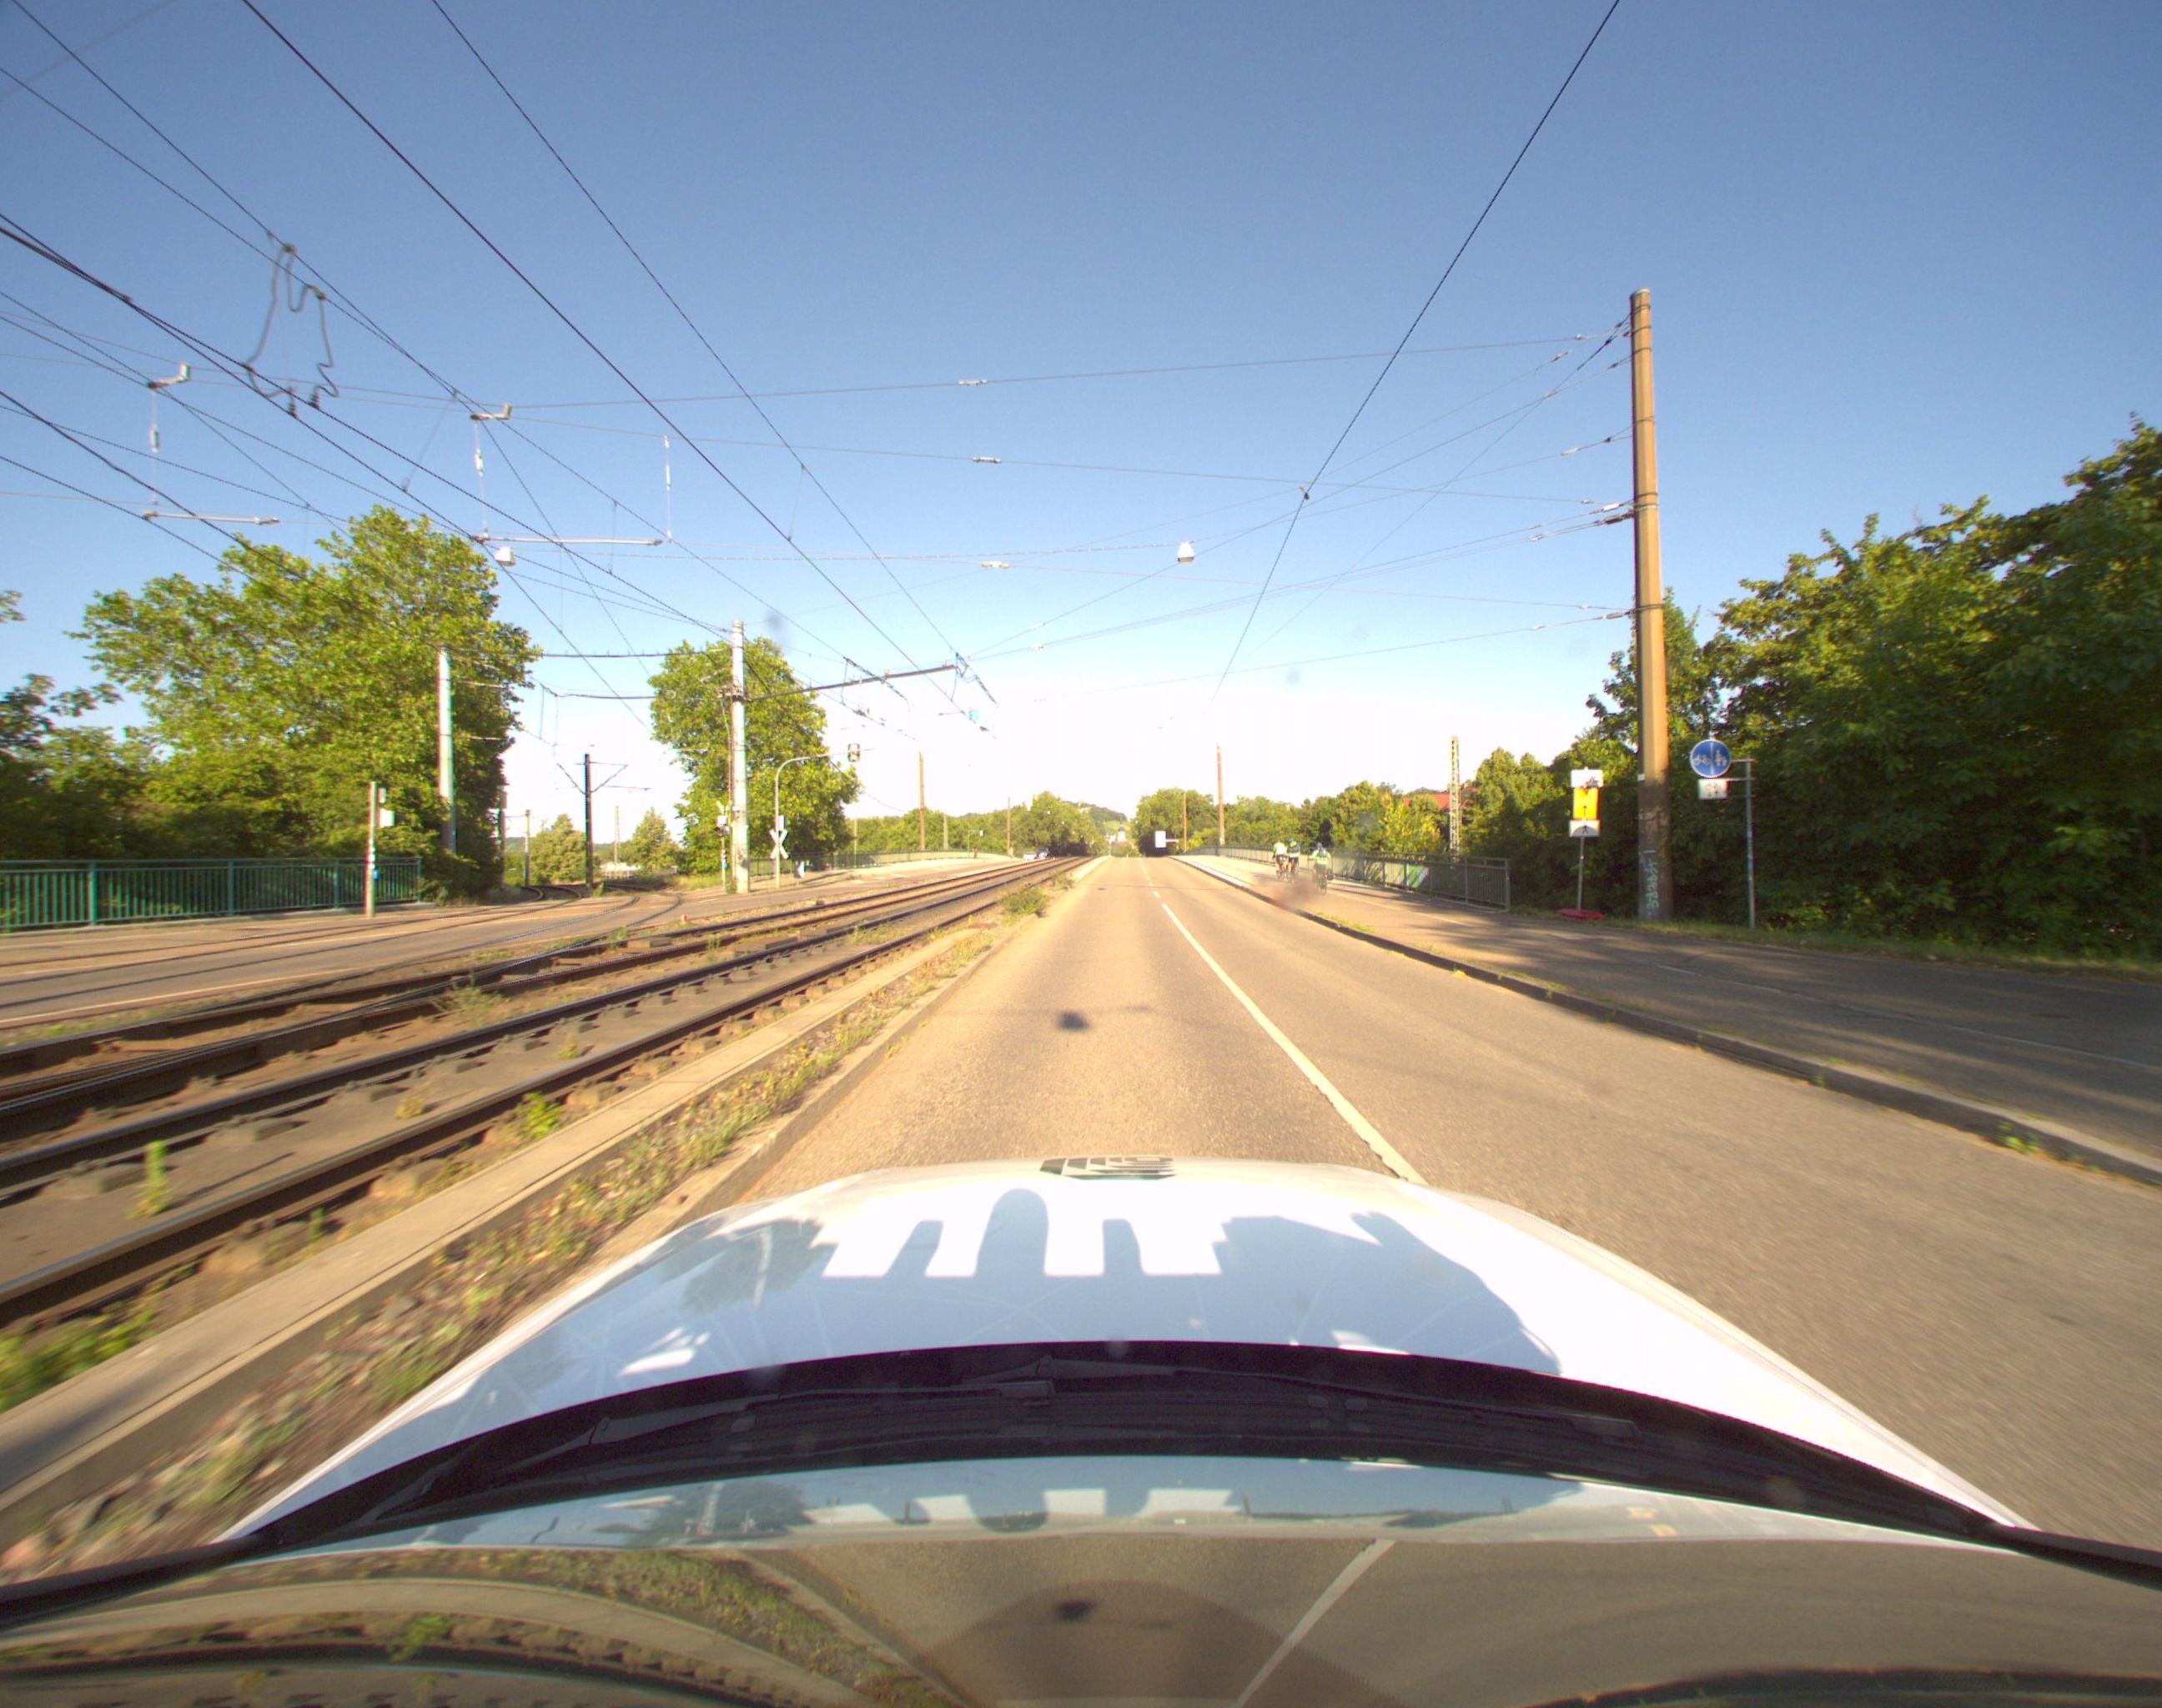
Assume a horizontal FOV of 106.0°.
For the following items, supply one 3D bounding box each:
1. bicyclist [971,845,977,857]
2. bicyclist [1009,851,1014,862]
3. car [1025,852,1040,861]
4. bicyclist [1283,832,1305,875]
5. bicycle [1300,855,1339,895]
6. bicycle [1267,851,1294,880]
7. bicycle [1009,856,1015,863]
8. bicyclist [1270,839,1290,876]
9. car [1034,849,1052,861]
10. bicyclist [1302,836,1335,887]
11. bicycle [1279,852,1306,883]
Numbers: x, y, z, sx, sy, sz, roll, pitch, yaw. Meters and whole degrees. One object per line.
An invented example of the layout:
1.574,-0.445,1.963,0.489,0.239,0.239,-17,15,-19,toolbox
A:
-12.723,-0.325,96.757,0.623,1.432,0.969,0,0,1,bicyclist
-10.423,0.319,122.859,0.622,1.633,0.936,0,0,4,bicyclist
-7.322,0.406,122.293,1.677,1.356,4.924,-1,0,3,car
8.078,-0.009,30.944,0.622,1.592,0.931,0,0,3,bicyclist
7.424,0.626,25.467,0.680,1.122,2.218,0,1,3,bicycle
8.266,0.455,33.830,0.622,1.122,2.261,0,0,2,bicycle
-10.425,0.797,122.839,0.622,1.122,2.262,0,0,4,bicycle
8.266,0.139,33.870,0.622,1.508,1.006,0,0,2,bicyclist
-4.968,0.116,107.496,1.841,1.502,4.223,-1,0,3,car
7.410,0.230,25.444,0.809,1.562,0.897,0,1,3,bicyclist
8.050,0.508,31.049,0.622,1.122,2.043,0,0,3,bicycle
